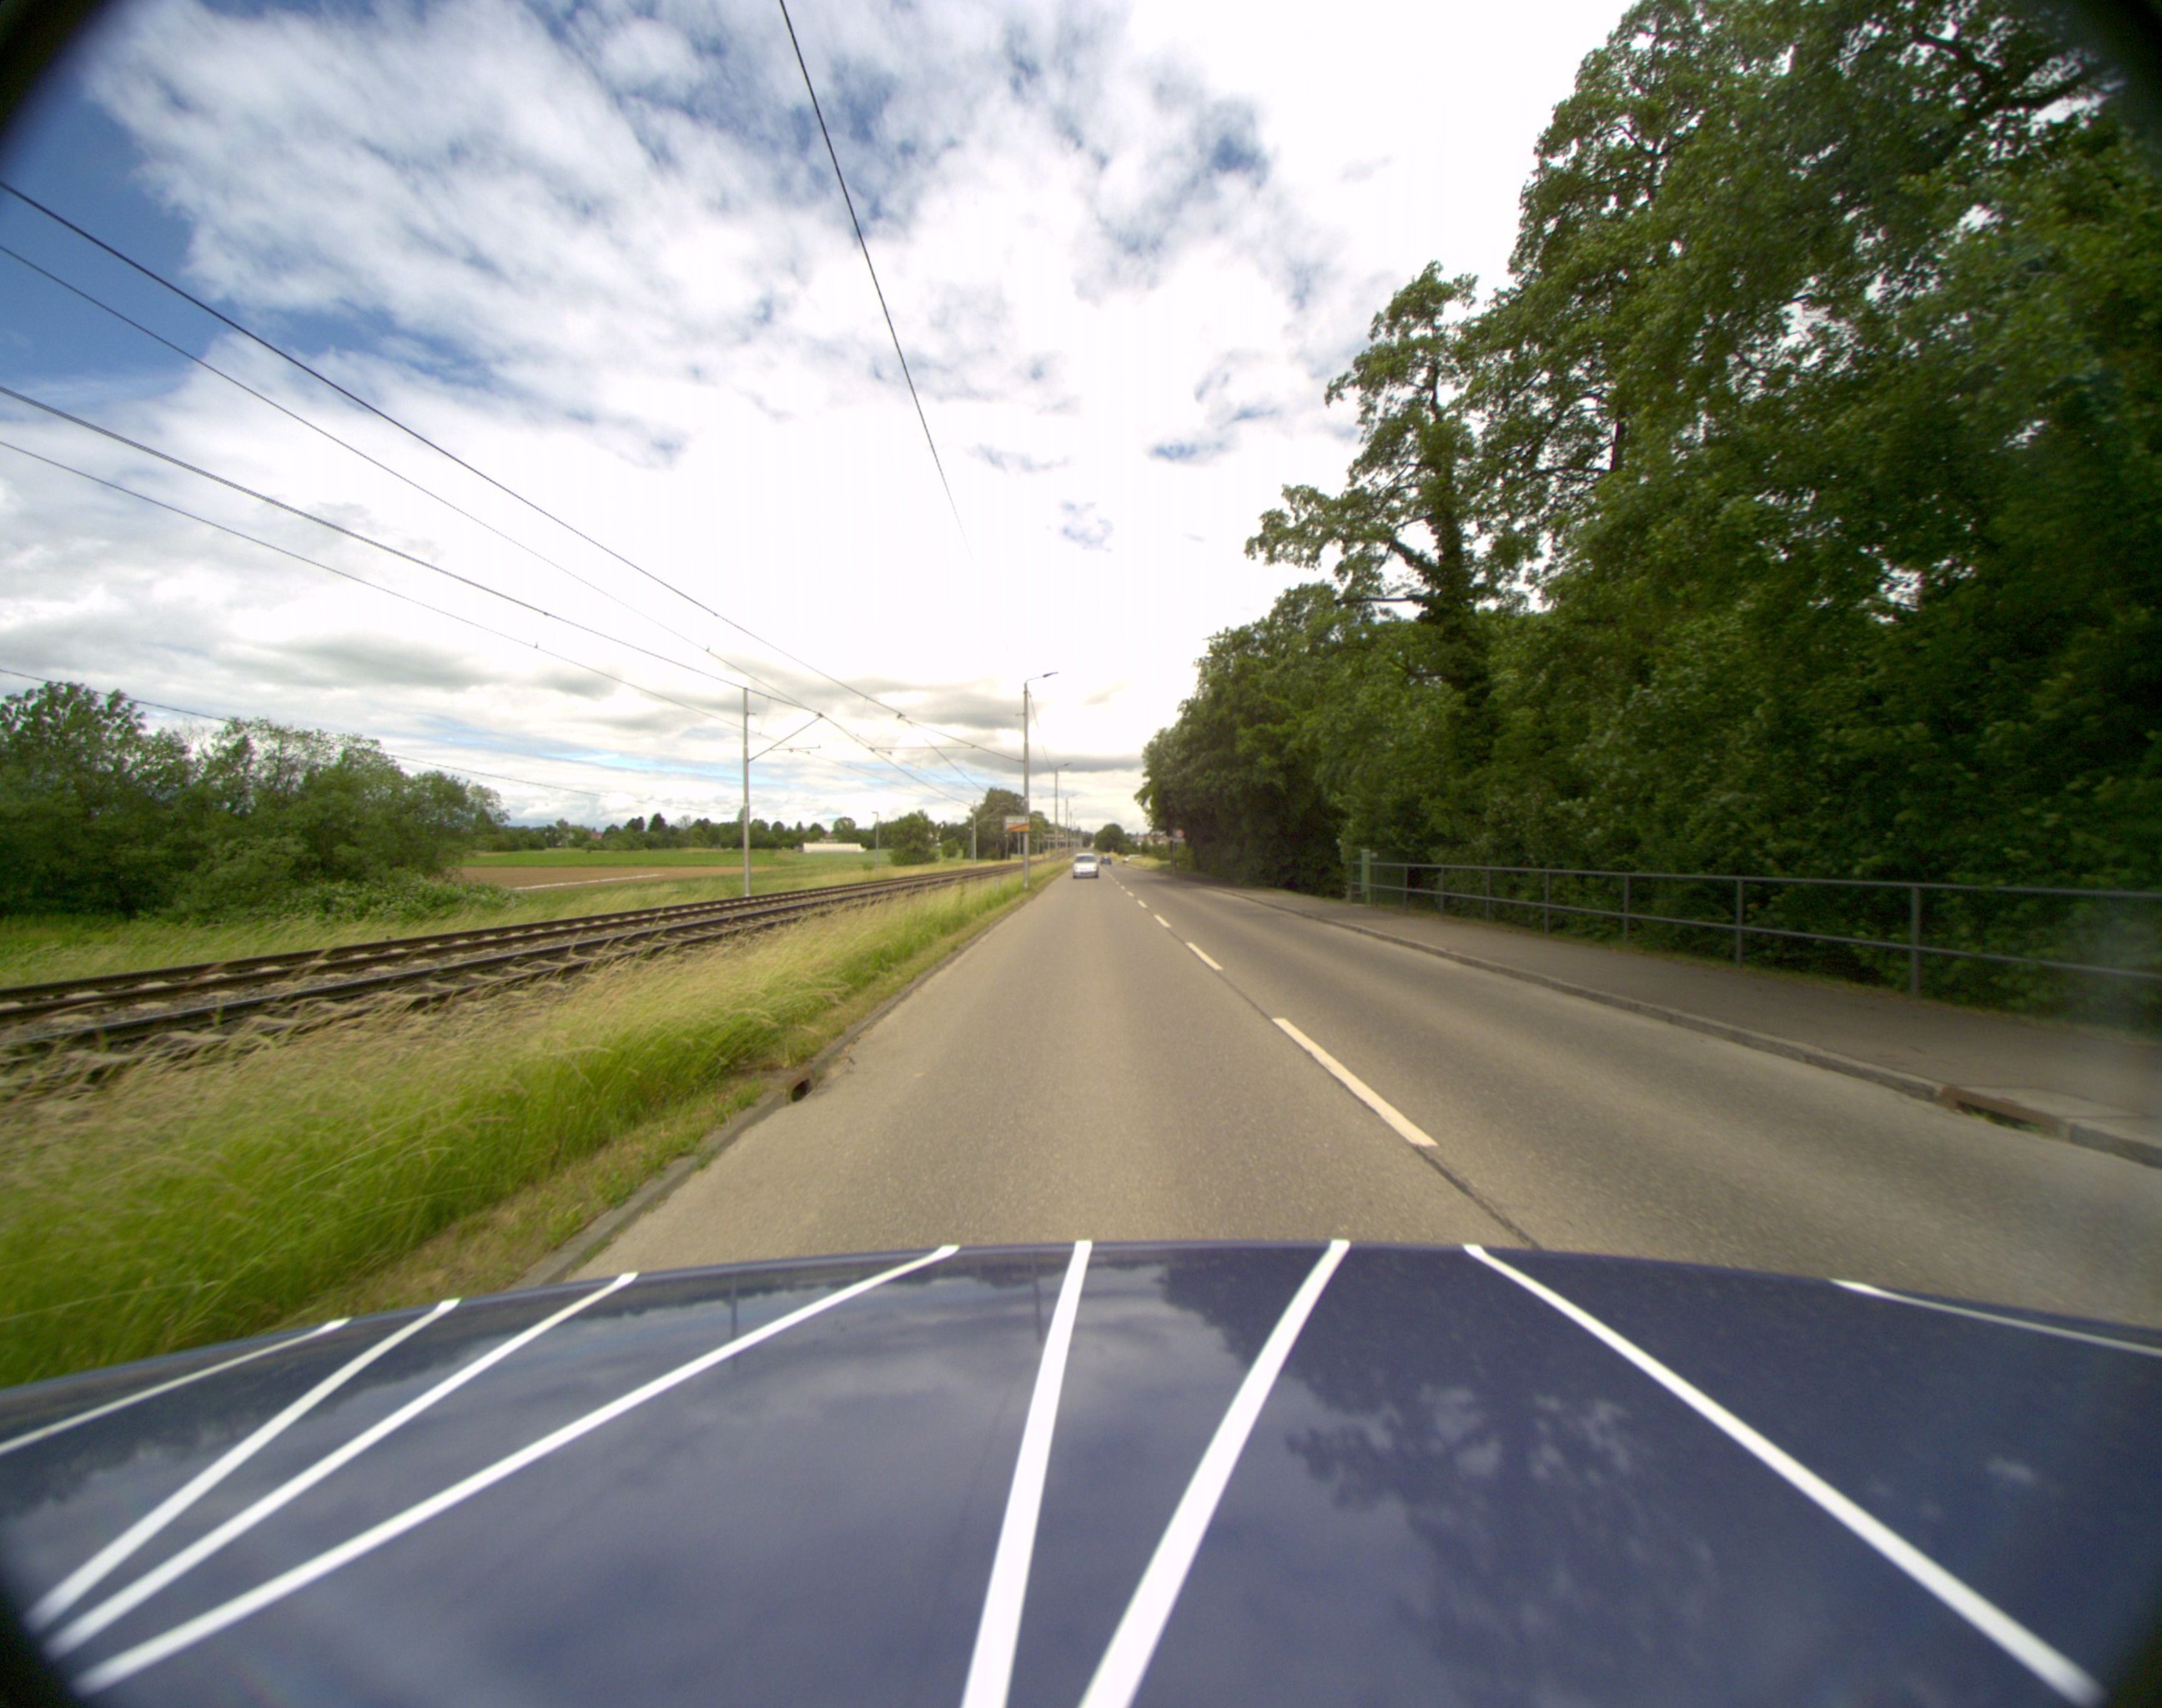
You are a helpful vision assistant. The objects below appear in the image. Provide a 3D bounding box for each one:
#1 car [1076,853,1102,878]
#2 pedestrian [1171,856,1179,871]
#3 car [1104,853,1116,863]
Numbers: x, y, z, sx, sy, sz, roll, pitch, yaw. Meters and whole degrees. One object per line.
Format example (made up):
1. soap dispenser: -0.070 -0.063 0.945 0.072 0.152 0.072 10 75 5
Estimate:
1. car: 0.516 0.704 50.480 1.643 1.510 3.868 -1 1 1
2. pedestrian: 9.974 1.025 80.585 0.706 1.584 0.707 0 -1 11
3. car: 4.581 0.561 121.088 1.711 1.519 3.824 2 1 1
